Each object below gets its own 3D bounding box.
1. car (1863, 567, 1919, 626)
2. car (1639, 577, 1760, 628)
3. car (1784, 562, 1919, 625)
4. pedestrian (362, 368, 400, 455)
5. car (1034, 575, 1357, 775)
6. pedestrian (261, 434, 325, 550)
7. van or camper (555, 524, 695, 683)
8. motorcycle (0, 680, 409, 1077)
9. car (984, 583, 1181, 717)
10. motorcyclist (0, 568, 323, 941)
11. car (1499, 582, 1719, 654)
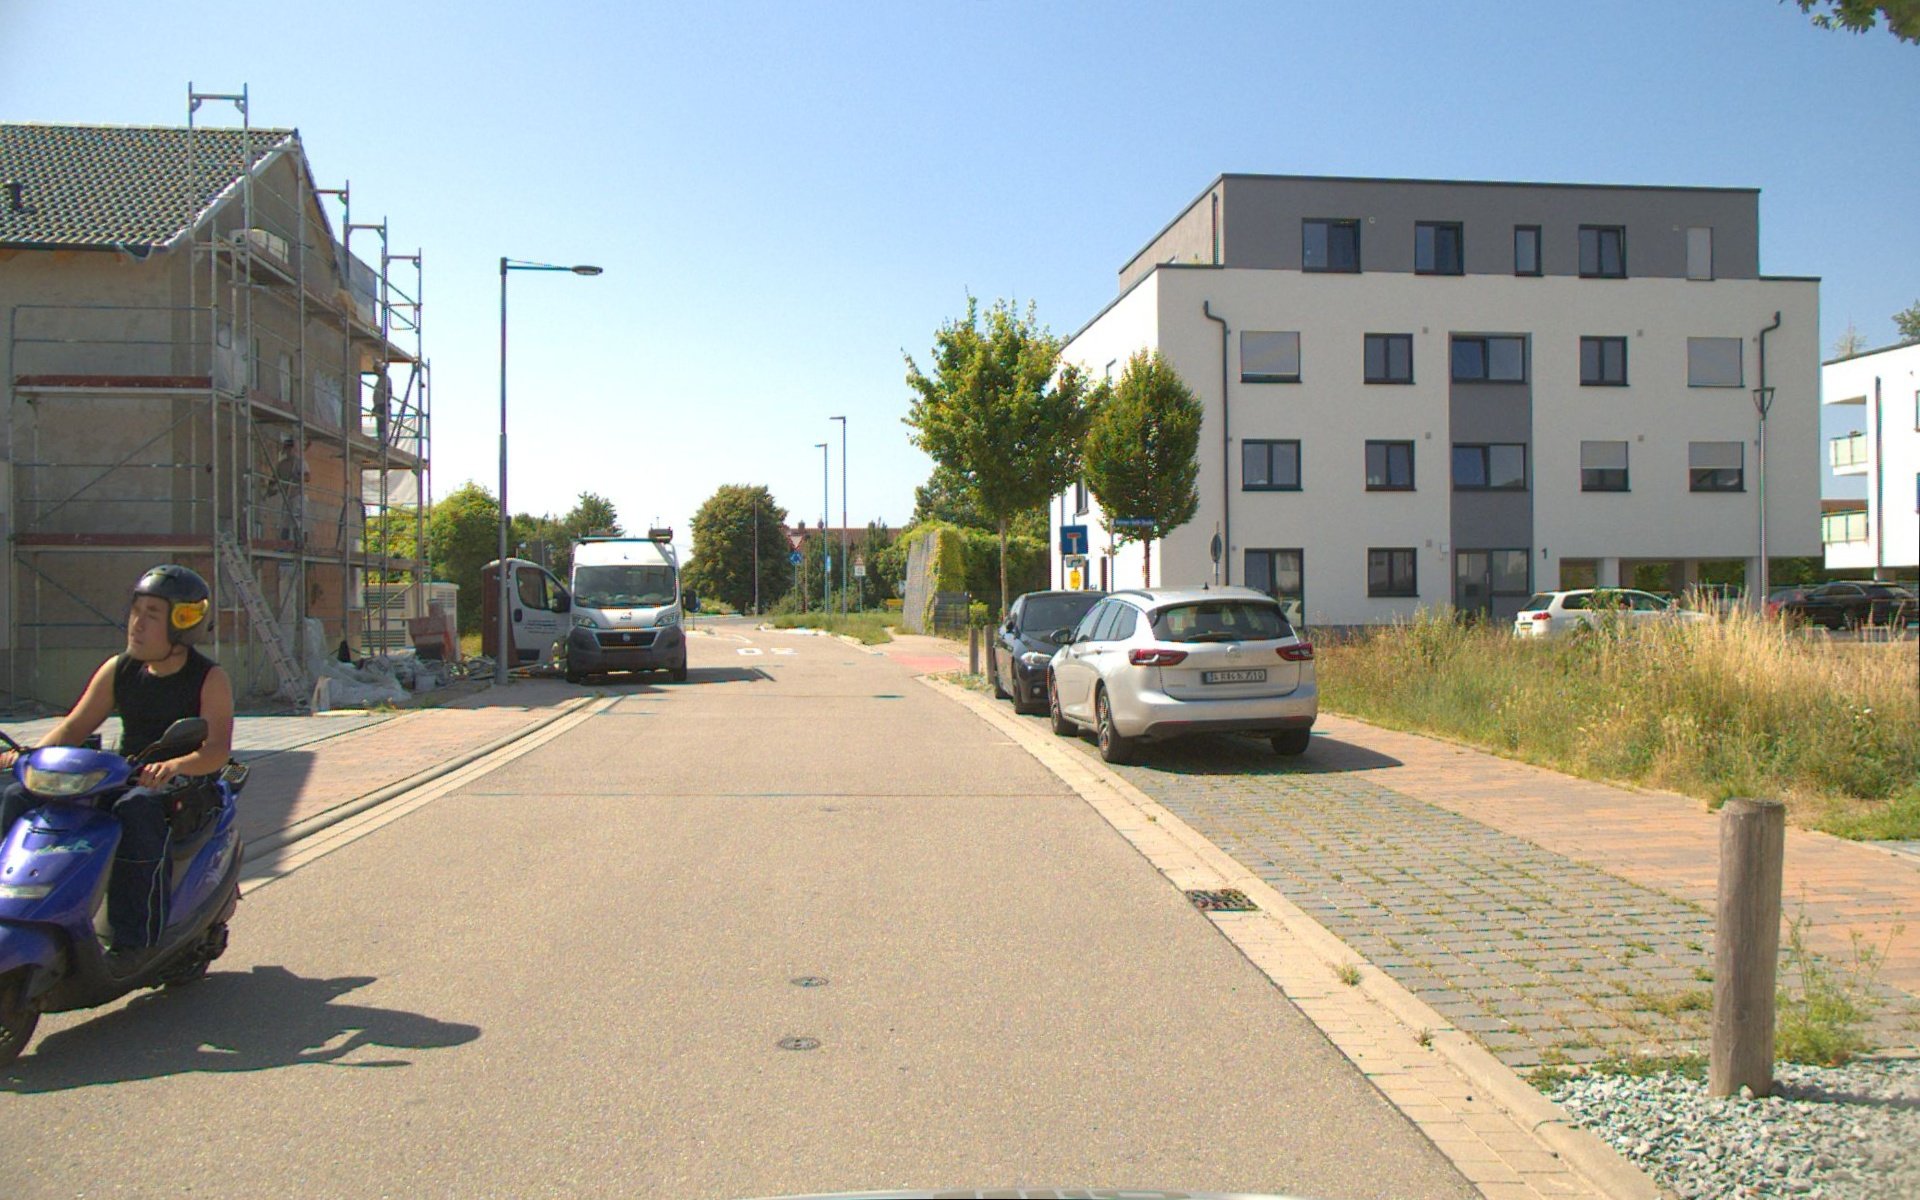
[{"bbox_3d":[30.654,-0.117,52.058,1.840,1.841,4.166,-1,-1,-6],"label":"car"},{"bbox_3d":[23.060,0.099,51.698,1.840,1.529,3.674,-1,-1,-6],"label":"car"},{"bbox_3d":[27.830,-0.161,51.584,1.840,1.841,4.166,-1,-1,-6],"label":"car"},{"bbox_3d":[-10.997,-3.573,31.430,0.555,1.526,0.741,0,-2,-30],"label":"pedestrian"},{"bbox_3d":[2.028,0.570,15.973,1.881,1.537,5.289,-2,1,-5],"label":"car"},{"bbox_3d":[-10.286,-1.654,25.509,0.568,1.709,0.744,-3,-3,42],"label":"pedestrian"},{"bbox_3d":[-6.139,0.084,30.420,2.232,2.598,6.349,-1,-1,-11],"label":"van or camper"},{"bbox_3d":[-2.926,0.902,6.214,0.936,1.053,2.436,-1,1,-1],"label":"motorcycle"},{"bbox_3d":[1.483,0.555,22.012,1.880,1.495,5.136,-2,1,-4],"label":"car"},{"bbox_3d":[-2.918,0.514,5.975,0.906,1.244,0.803,-1,1,-1],"label":"motorcyclist"},{"bbox_3d":[14.177,0.391,36.250,4.079,1.461,1.879,-1,-1,-8],"label":"car"}]
